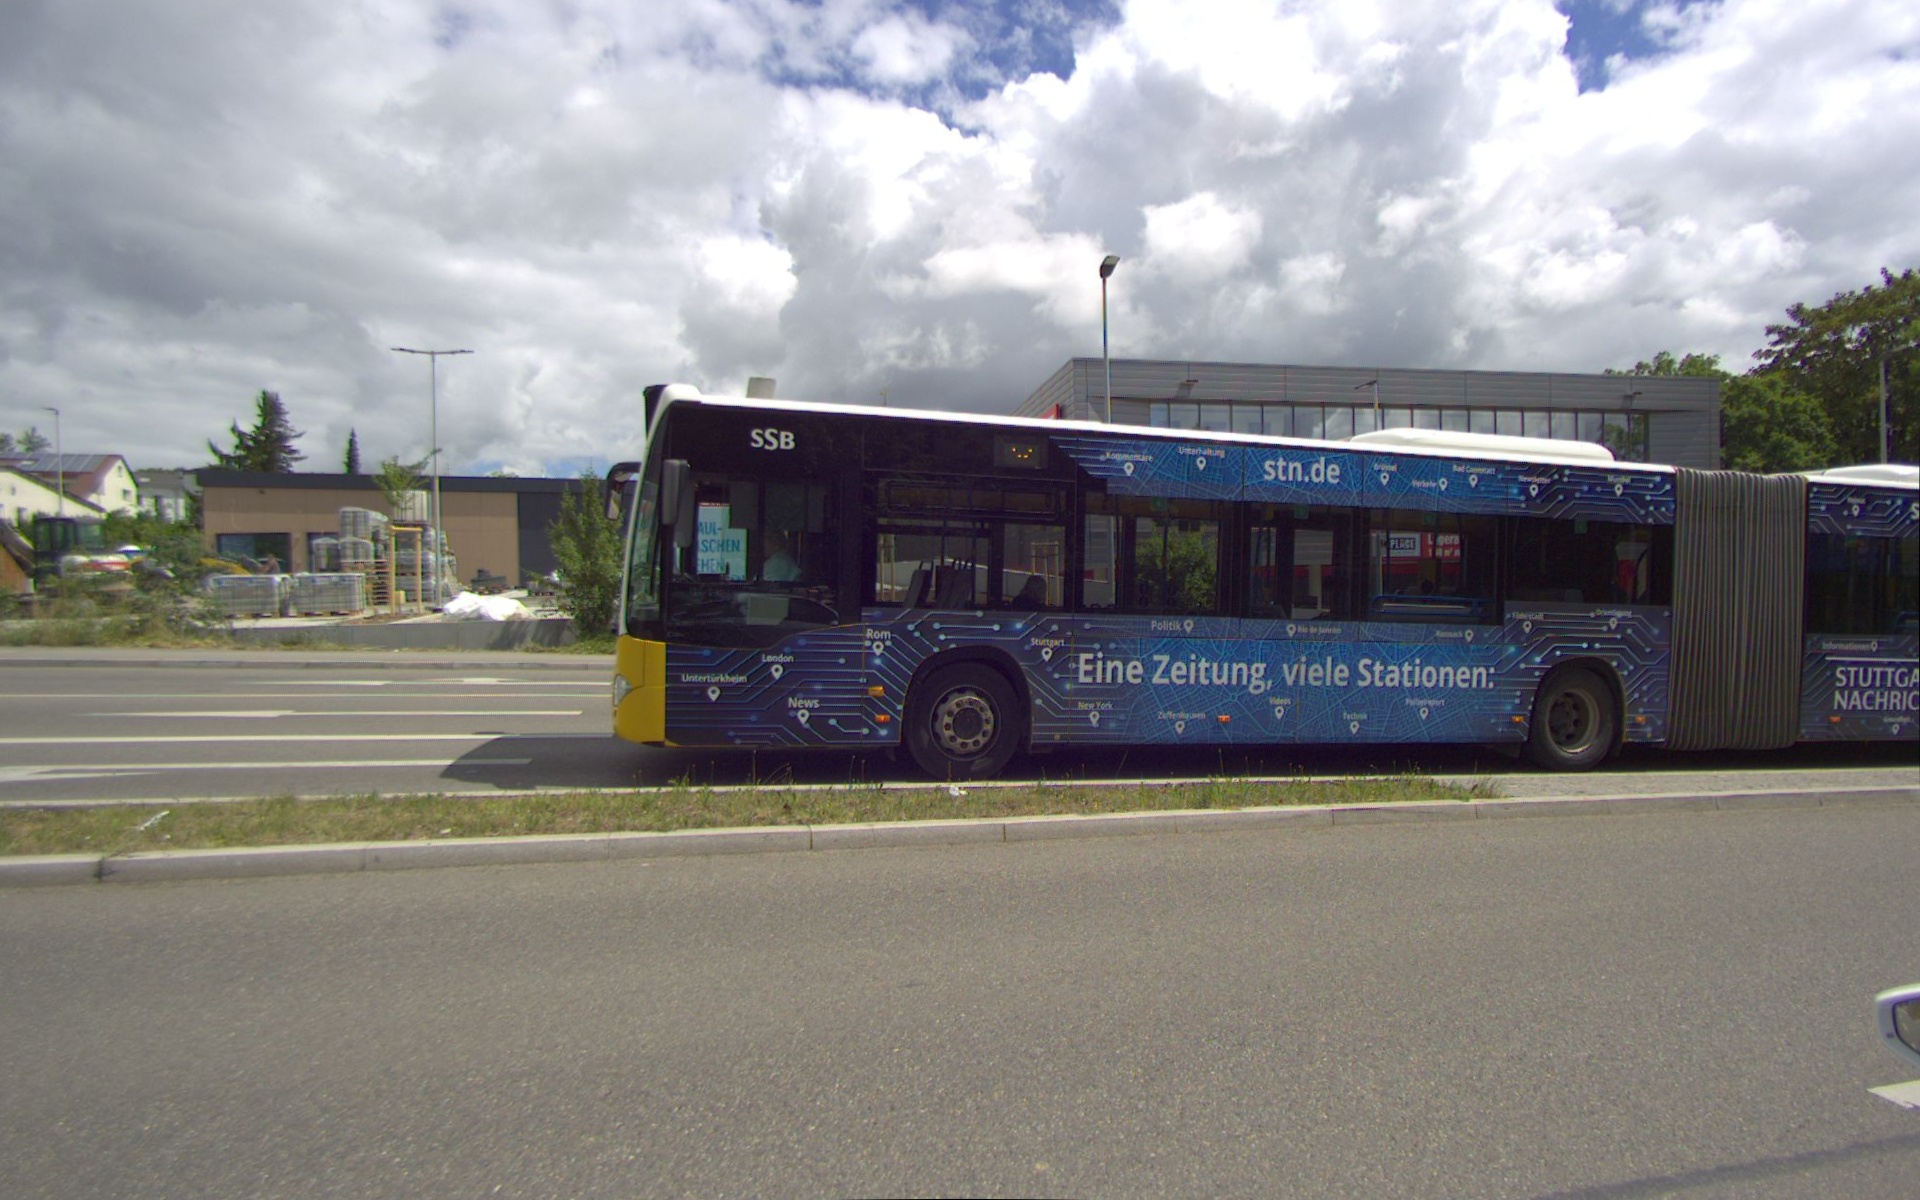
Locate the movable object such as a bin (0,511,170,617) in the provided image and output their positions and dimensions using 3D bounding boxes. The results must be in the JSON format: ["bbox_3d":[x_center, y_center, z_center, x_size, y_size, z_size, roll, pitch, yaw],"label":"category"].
[{"bbox_3d":[-22.918,-0.892,25.911,3.346,2.572,2.154,1,0,4],"label":"movable object such as a bin"}]

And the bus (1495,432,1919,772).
[{"bbox_3d":[11.106,0.043,11.856,8.754,3.206,2.817,1,1,-13],"label":"bus"}]

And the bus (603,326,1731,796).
[{"bbox_3d":[2.036,-0.157,9.648,9.946,3.329,2.817,2,1,-13],"label":"bus"}]

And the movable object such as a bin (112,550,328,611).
[{"bbox_3d":[-29.574,-0.771,40.320,6.809,2.040,2.295,-3,1,-1],"label":"movable object such as a bin"}]
